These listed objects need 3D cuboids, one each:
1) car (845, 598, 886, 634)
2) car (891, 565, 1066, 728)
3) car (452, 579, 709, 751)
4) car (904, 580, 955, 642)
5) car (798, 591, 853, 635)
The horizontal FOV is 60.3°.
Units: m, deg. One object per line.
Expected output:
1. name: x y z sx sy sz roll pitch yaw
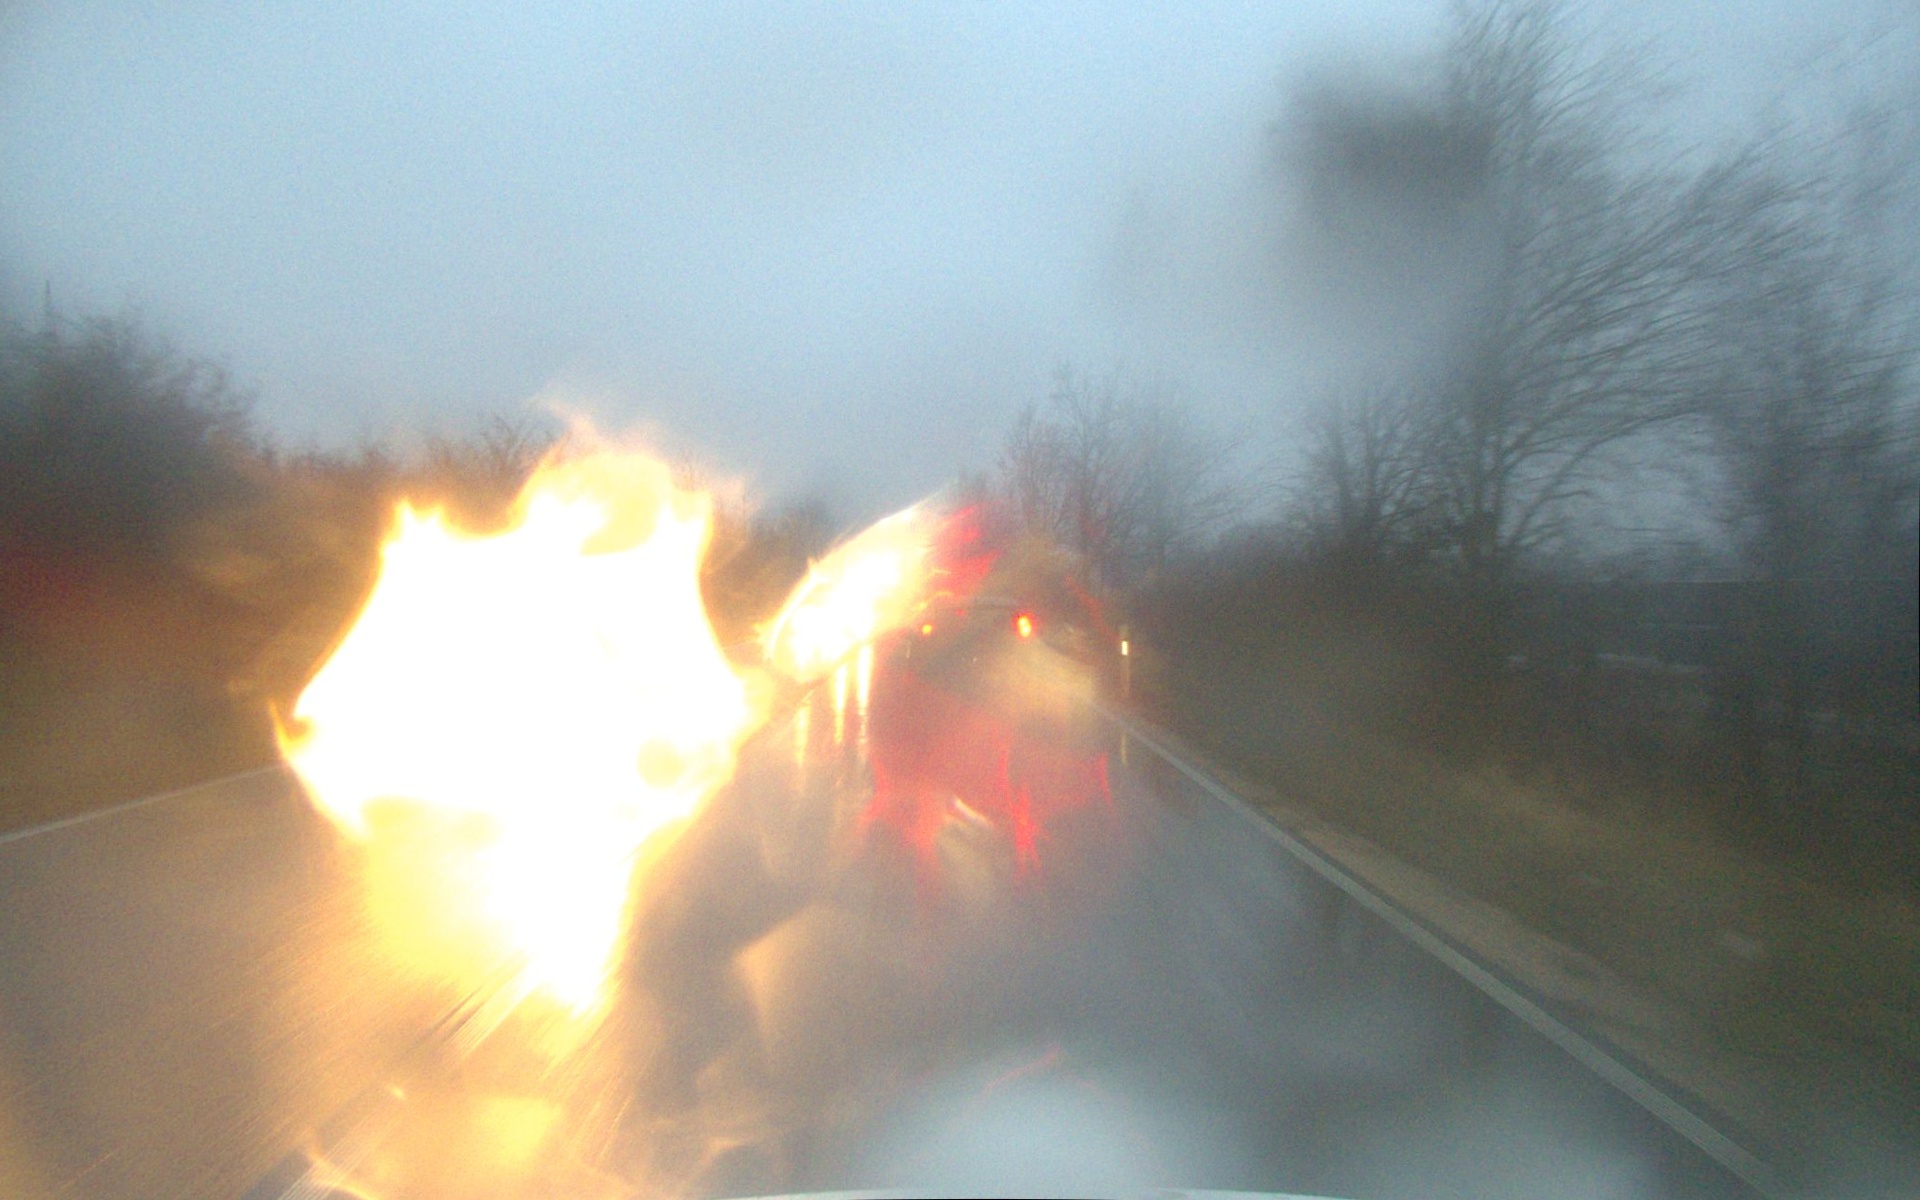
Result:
1. car: -4.617 0.783 81.472 1.722 1.669 4.685 1 0 0
2. car: 0.228 0.524 20.808 1.952 1.816 4.000 1 0 0
3. car: -3.647 0.568 16.551 1.715 1.500 3.890 0 0 -1
4. car: -0.963 0.333 53.796 1.542 1.907 3.709 1 0 0
5. car: -4.900 0.456 60.689 1.788 1.525 4.093 0 0 -2
